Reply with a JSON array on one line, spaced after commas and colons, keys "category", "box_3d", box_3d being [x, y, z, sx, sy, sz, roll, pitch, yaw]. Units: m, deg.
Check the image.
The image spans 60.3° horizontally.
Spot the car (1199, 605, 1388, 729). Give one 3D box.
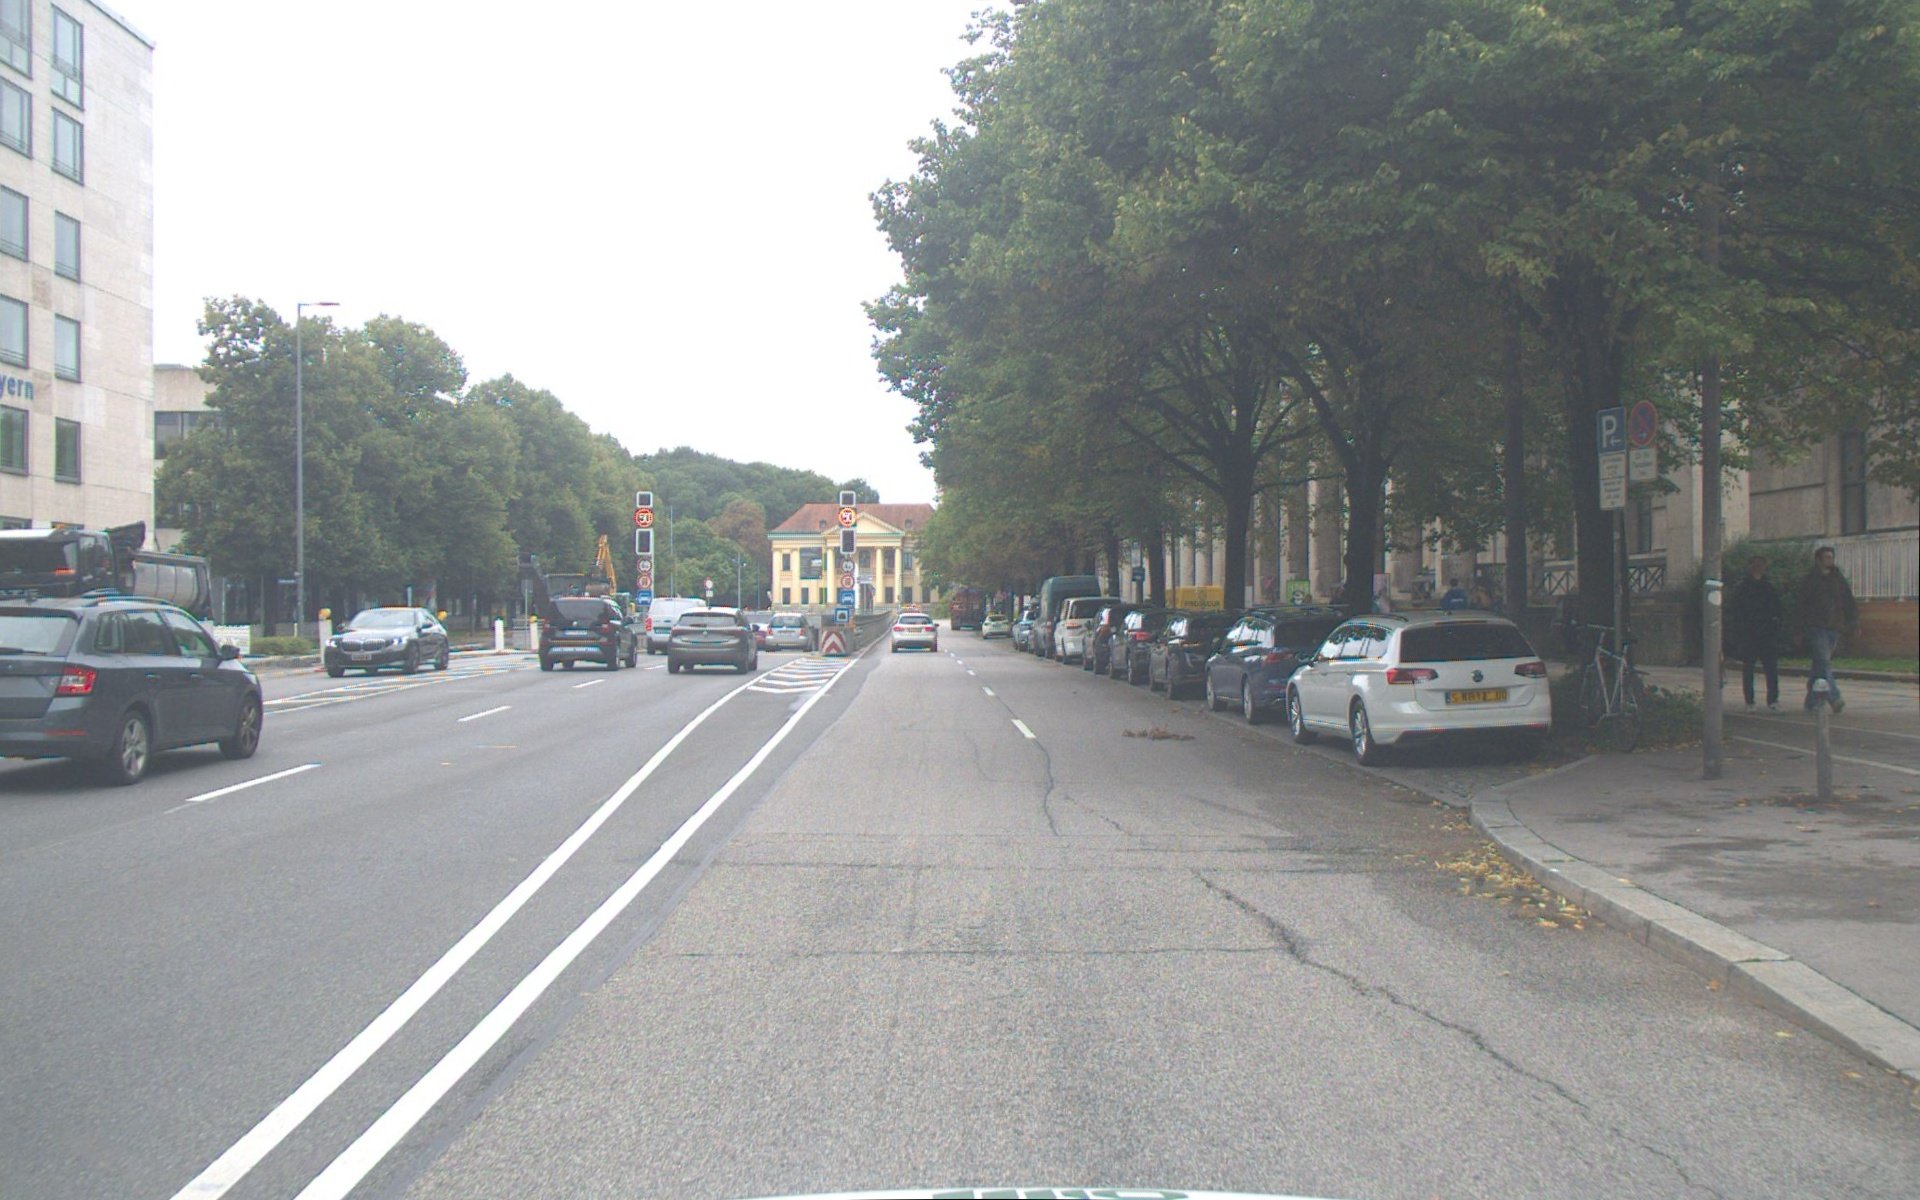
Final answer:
[{"category": "car", "box_3d": [4.638, 0.881, 23.663, 1.689, 1.577, 4.584, -1, 0, -1]}]

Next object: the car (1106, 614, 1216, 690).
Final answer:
[{"category": "car", "box_3d": [4.212, 1.063, 35.207, 1.785, 1.490, 4.027, -1, 0, -1]}]

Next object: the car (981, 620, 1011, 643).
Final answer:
[{"category": "car", "box_3d": [2.238, 1.962, 102.450, 1.689, 1.347, 4.027, -1, 0, -1]}]

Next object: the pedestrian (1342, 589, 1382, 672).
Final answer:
[{"category": "pedestrian", "box_3d": [9.658, 0.730, 39.744, 0.763, 1.944, 0.770, 1, -1, -1]}]

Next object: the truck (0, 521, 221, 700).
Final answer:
[{"category": "truck", "box_3d": [-18.795, 0.224, 36.004, 2.789, 3.416, 8.743, 1, 0, -10]}]

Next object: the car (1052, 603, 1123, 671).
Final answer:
[{"category": "car", "box_3d": [3.728, 1.054, 48.849, 1.689, 1.900, 4.027, -1, 0, -1]}]

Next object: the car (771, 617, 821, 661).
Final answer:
[{"category": "car", "box_3d": [-6.697, 1.573, 67.832, 1.743, 1.683, 3.998, 1, 0, -2]}]

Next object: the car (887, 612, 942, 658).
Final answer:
[{"category": "car", "box_3d": [-1.780, 1.317, 63.830, 1.745, 1.673, 3.994, 1, 0, -7]}]

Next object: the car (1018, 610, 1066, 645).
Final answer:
[{"category": "car", "box_3d": [3.331, 1.098, 67.510, 1.689, 1.347, 4.027, -1, 0, -1]}]

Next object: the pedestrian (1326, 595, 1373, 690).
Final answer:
[{"category": "pedestrian", "box_3d": [8.174, 0.885, 34.729, 0.763, 1.944, 0.770, 1, -1, -1]}]

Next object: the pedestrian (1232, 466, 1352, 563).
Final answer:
[{"category": "pedestrian", "box_3d": [7.906, -1.997, 39.730, 1.953, 2.049, 3.999, 1, 0, -2]}]

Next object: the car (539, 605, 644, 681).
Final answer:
[{"category": "car", "box_3d": [-8.643, 0.987, 39.094, 1.688, 1.665, 4.203, -1, -1, -2]}]

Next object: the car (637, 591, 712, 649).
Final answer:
[{"category": "car", "box_3d": [-9.762, 0.697, 56.826, 1.860, 1.880, 4.953, -1, -1, -2]}]

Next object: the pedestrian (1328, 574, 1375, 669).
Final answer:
[{"category": "pedestrian", "box_3d": [8.192, 0.448, 34.643, 0.763, 1.944, 0.770, 1, -1, -1]}]

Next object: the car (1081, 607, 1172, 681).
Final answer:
[{"category": "car", "box_3d": [4.055, 1.036, 40.922, 1.689, 1.694, 4.588, -1, 0, -1]}]

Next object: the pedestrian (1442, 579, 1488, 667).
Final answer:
[{"category": "pedestrian", "box_3d": [11.300, 0.511, 37.033, 0.763, 1.944, 0.770, 1, -1, -1]}]

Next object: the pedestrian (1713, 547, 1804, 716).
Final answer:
[{"category": "pedestrian", "box_3d": [9.445, 0.368, 19.581, 0.685, 1.944, 0.770, 1, -1, -1]}]

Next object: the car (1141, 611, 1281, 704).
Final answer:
[{"category": "car", "box_3d": [4.375, 0.961, 29.525, 1.689, 1.490, 4.774, -1, 0, -1]}]

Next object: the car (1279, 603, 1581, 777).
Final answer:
[{"category": "car", "box_3d": [4.806, 0.847, 17.671, 1.790, 1.577, 4.750, -1, 0, -1]}]

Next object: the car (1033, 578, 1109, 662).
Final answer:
[{"category": "car", "box_3d": [3.686, 0.660, 55.639, 1.954, 2.689, 4.874, 1, 0, -3]}]

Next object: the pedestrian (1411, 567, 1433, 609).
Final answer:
[{"category": "pedestrian", "box_3d": [15.692, -0.405, 56.194, 0.555, 1.397, 0.646, 1, -1, -1]}]

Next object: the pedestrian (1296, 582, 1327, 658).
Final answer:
[{"category": "pedestrian", "box_3d": [9.018, 0.512, 42.474, 0.629, 1.944, 0.682, 1, -1, -1]}]

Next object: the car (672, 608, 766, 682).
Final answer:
[{"category": "car", "box_3d": [-5.463, 0.980, 37.877, 1.676, 1.579, 3.998, 1, 0, -2]}]

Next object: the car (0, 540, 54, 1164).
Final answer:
[{"category": "car", "box_3d": [-3.367, 0.654, 2.156, 1.756, 1.665, 5.024, -1, -1, -2]}]

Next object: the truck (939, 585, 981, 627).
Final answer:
[{"category": "truck", "box_3d": [-0.048, 0.533, 139.721, 3.258, 3.426, 8.659, 1, 0, -1]}]

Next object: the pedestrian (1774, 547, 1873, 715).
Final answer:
[{"category": "pedestrian", "box_3d": [10.216, 0.364, 19.587, 0.748, 1.944, 0.770, 1, -1, -1]}]

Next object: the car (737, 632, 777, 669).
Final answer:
[{"category": "car", "box_3d": [-10.248, 2.555, 83.740, 1.627, 1.758, 3.442, -1, -1, -1]}]

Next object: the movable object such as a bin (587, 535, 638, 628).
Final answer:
[{"category": "movable object such as a bin", "box_3d": [-25.491, -1.295, 121.544, 2.645, 6.625, 5.174, 1, -1, -2]}]

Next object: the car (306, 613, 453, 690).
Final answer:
[{"category": "car", "box_3d": [-13.064, 1.123, 37.455, 1.953, 1.624, 3.999, -1, 0, -1]}]

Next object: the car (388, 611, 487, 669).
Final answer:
[{"category": "car", "box_3d": [-15.685, 1.174, 49.846, 1.954, 1.624, 3.996, -1, 0, -5]}]

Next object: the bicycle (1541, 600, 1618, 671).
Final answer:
[{"category": "bicycle", "box_3d": [13.072, 0.737, 34.963, 0.685, 1.440, 2.298, -1, -1, -1]}]

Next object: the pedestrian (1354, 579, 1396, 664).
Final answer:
[{"category": "pedestrian", "box_3d": [9.651, 0.496, 38.450, 0.763, 1.944, 0.770, 1, -1, -1]}]

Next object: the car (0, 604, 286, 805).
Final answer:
[{"category": "car", "box_3d": [-7.447, 0.798, 14.276, 1.757, 1.473, 4.271, -1, -1, -4]}]

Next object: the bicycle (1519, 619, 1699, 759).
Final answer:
[{"category": "bicycle", "box_3d": [6.384, 0.830, 16.453, 0.616, 1.252, 2.616, 1, 0, -3]}]
